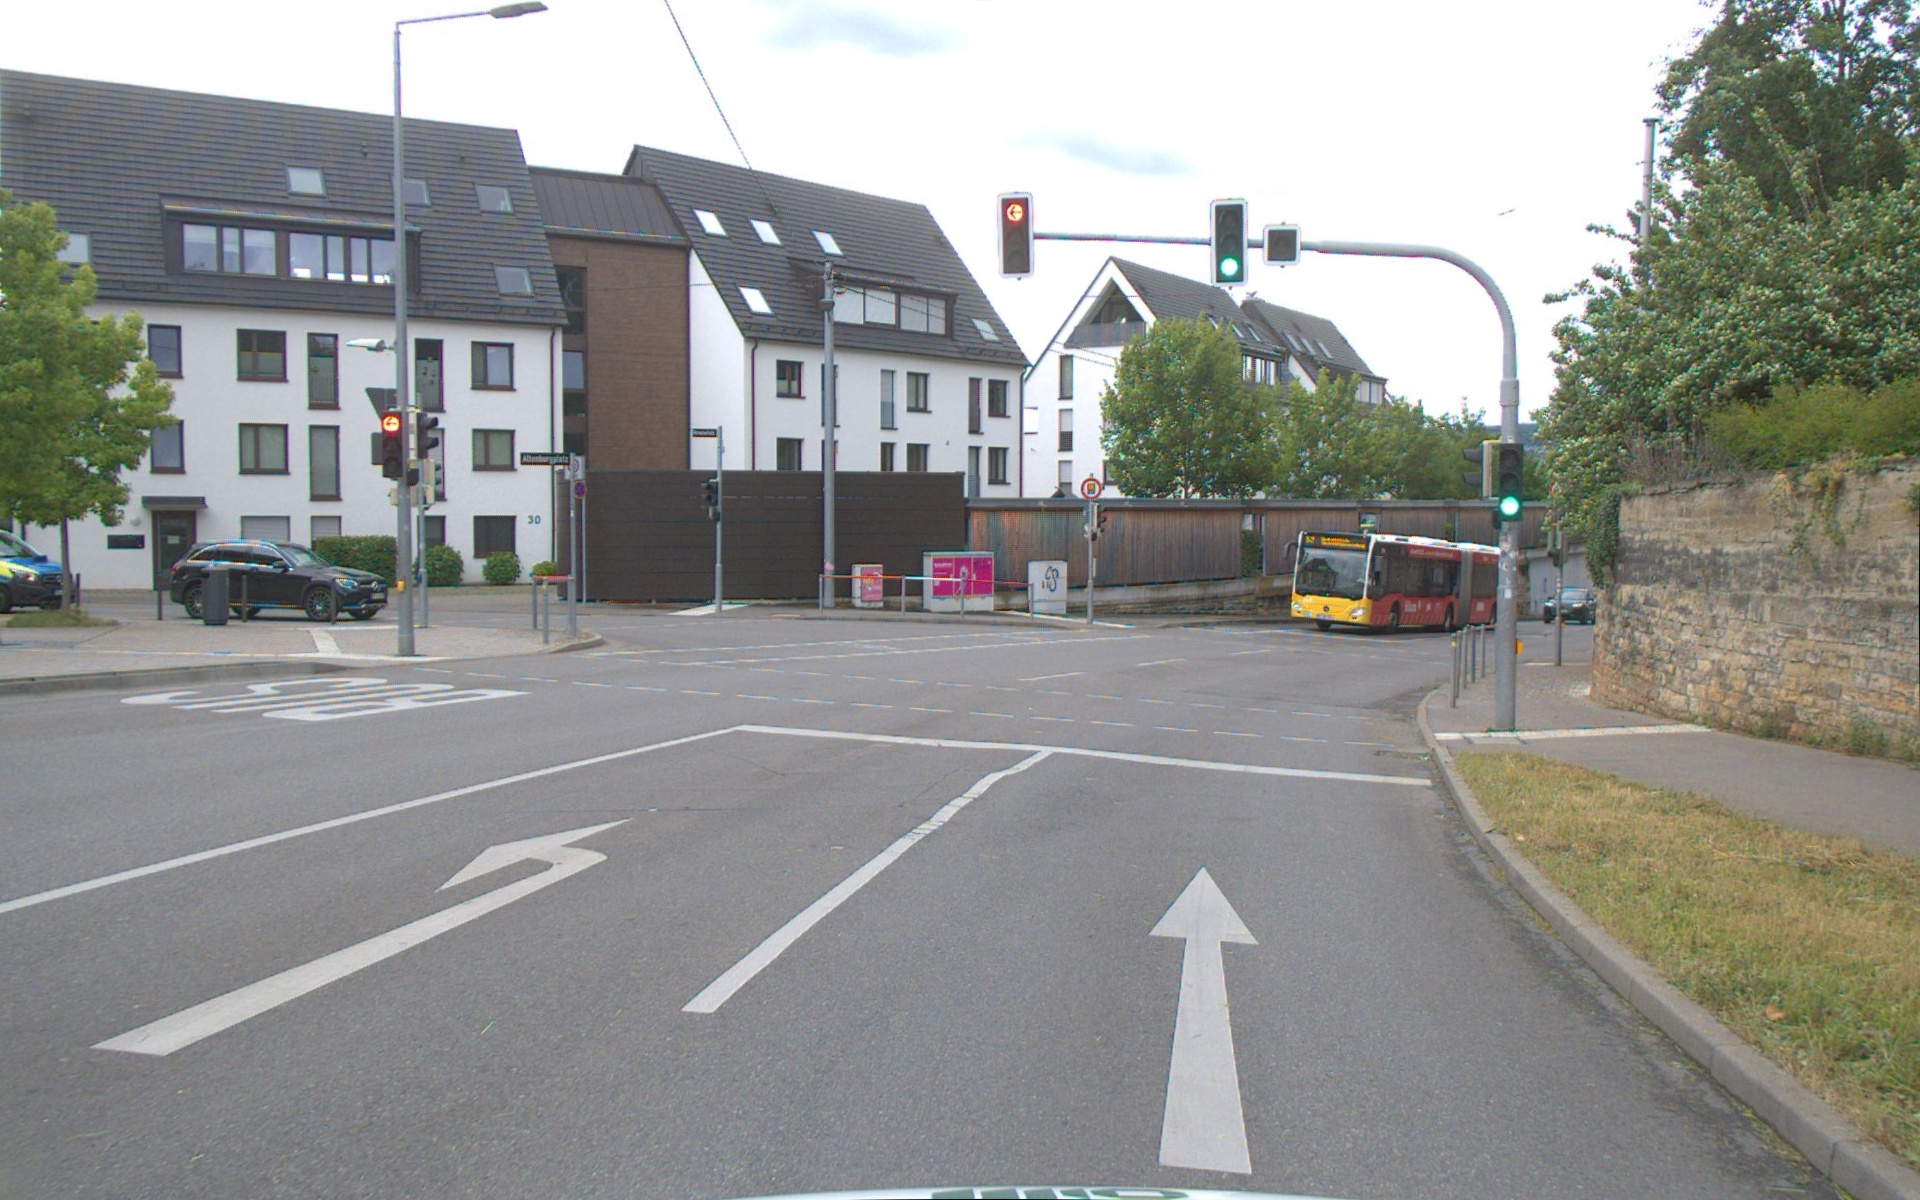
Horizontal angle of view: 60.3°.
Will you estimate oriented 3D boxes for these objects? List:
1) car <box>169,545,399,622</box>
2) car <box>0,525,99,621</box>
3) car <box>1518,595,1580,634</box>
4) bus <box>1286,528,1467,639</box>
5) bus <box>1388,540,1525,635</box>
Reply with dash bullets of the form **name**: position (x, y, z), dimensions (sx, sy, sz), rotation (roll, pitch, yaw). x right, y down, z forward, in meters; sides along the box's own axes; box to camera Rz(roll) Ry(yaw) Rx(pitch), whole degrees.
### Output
- **car**: position (-14.643, -0.353, 35.923), dimensions (4.168, 1.539, 2.002), rotation (1, 0, 10)
- **car**: position (-22.183, -0.644, 36.858), dimensions (4.967, 2.049, 2.001), rotation (1, 0, 5)
- **car**: position (27.476, 0.688, 77.062), dimensions (1.887, 1.658, 4.514), rotation (4, 1, 30)
- **bus**: position (13.791, -0.482, 54.020), dimensions (2.611, 3.175, 9.992), rotation (4, 2, 32)
- **bus**: position (18.658, -0.432, 61.780), dimensions (2.611, 3.175, 8.271), rotation (4, 2, 32)
